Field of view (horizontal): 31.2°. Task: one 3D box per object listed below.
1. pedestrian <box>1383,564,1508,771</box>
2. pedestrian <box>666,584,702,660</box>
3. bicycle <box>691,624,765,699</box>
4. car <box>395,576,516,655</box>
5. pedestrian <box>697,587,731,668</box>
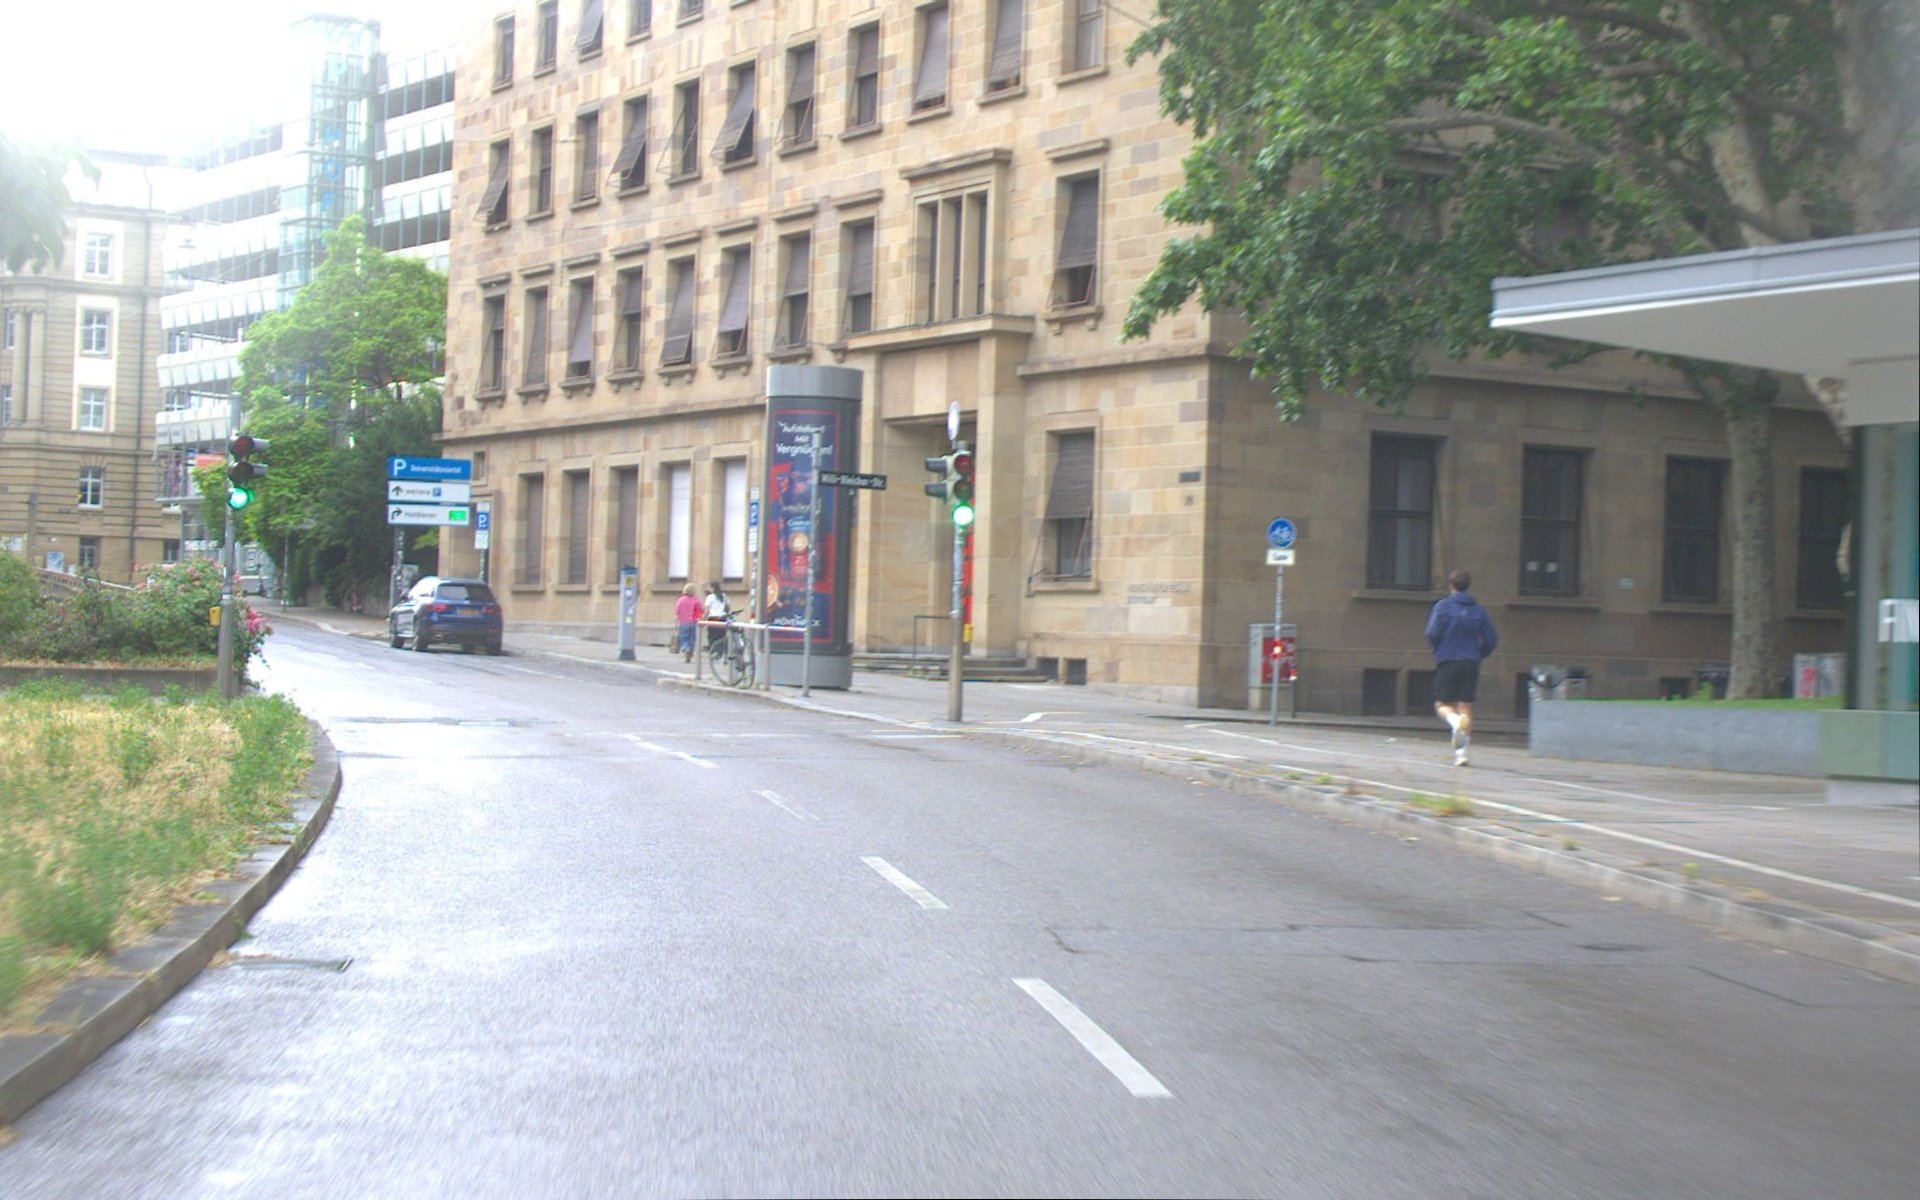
[{"bbox_3d":[4.265,0.585,30.251,0.779,1.766,0.863,2,0,-12],"label":"pedestrian"},{"bbox_3d":[-5.486,0.441,68.372,0.524,1.487,0.674,3,-1,-17],"label":"pedestrian"},{"bbox_3d":[-3.312,0.866,48.955,0.489,1.009,1.928,3,0,-20],"label":"bicycle"},{"bbox_3d":[-11.133,0.330,75.649,1.767,1.614,4.158,3,-1,-20],"label":"car"},{"bbox_3d":[-4.910,0.541,68.681,0.524,1.597,0.674,2,-1,-13],"label":"pedestrian"}]
